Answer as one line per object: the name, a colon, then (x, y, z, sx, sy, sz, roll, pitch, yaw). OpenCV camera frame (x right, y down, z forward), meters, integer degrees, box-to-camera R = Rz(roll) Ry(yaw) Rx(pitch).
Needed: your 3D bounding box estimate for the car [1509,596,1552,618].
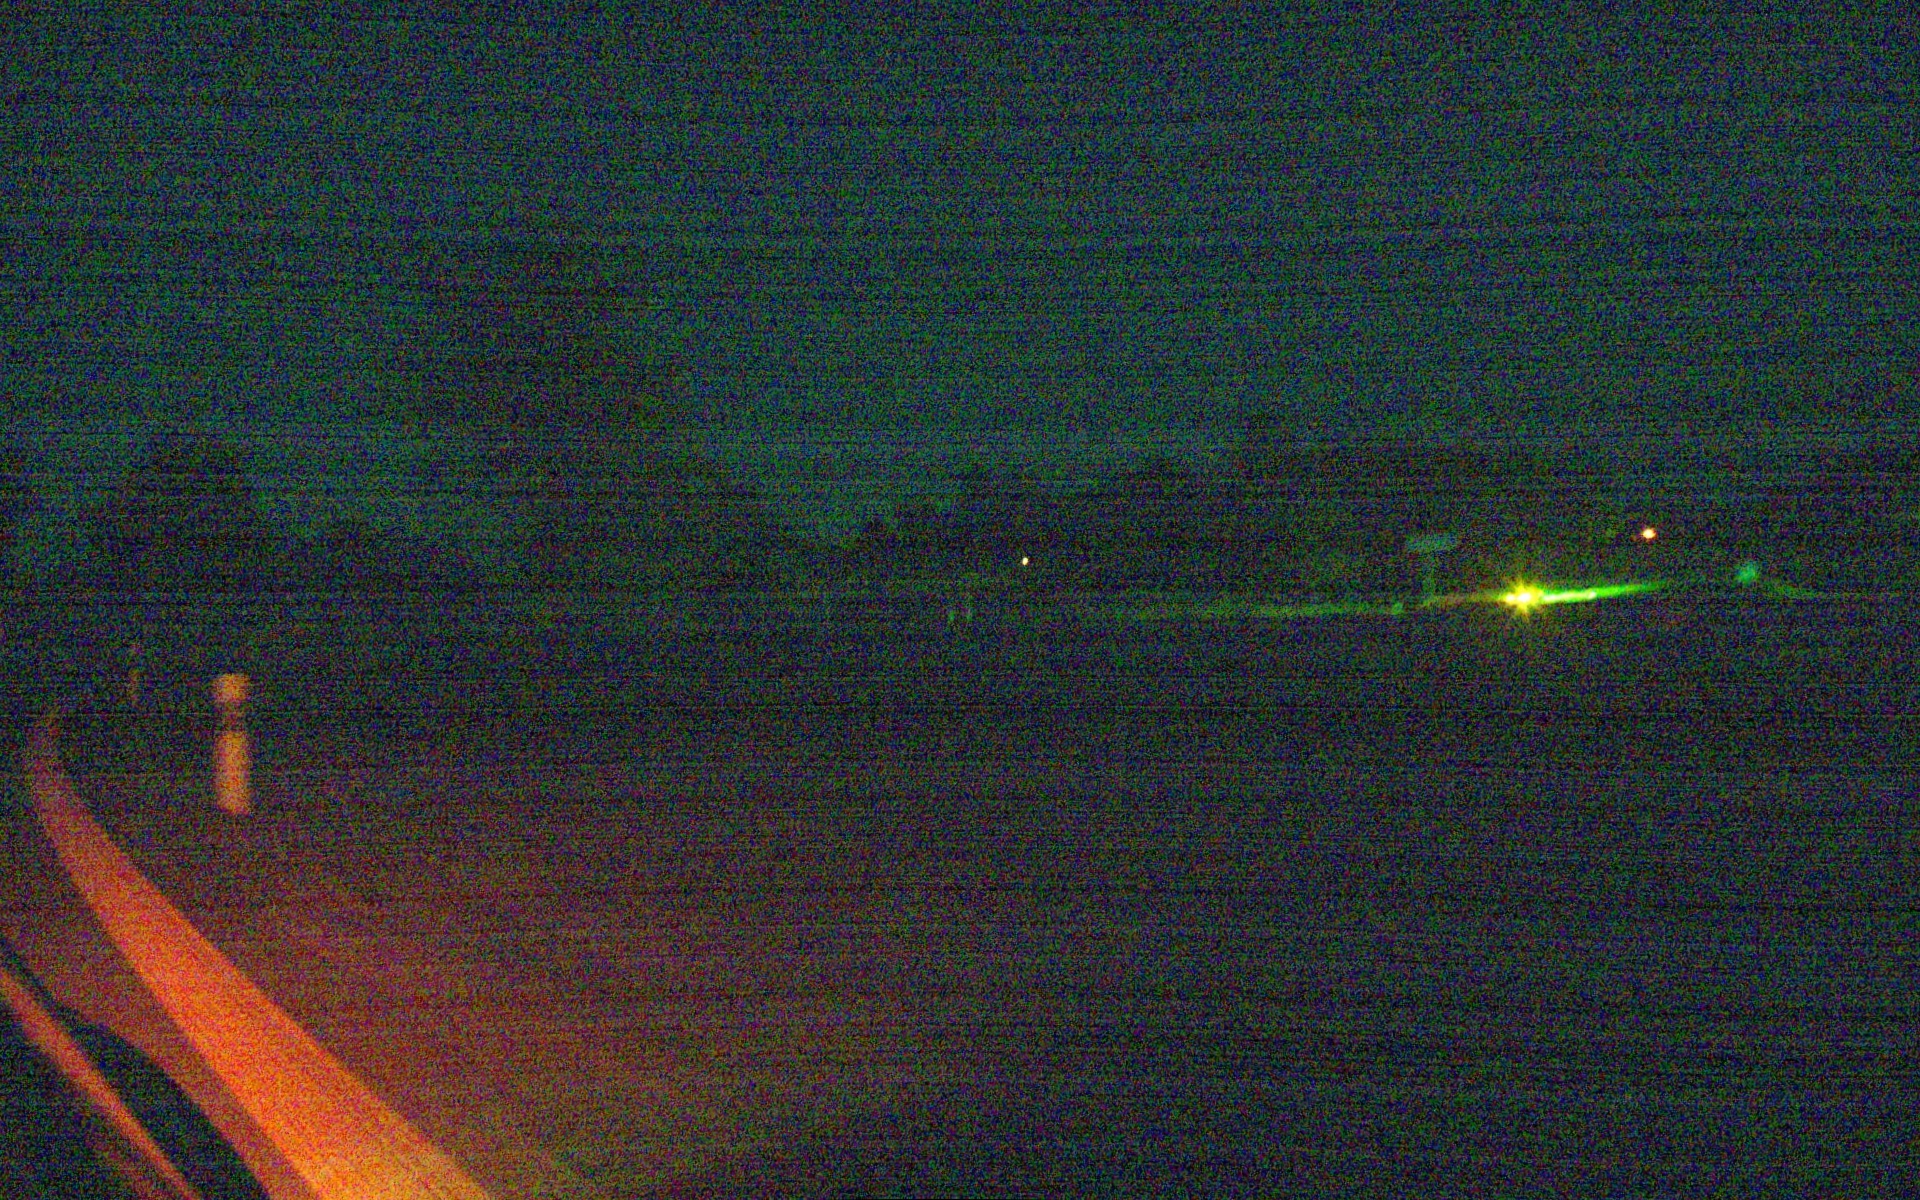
car: (48.340, 0.570, 85.704, 3.937, 1.798, 1.880, 1, 1, -40)
